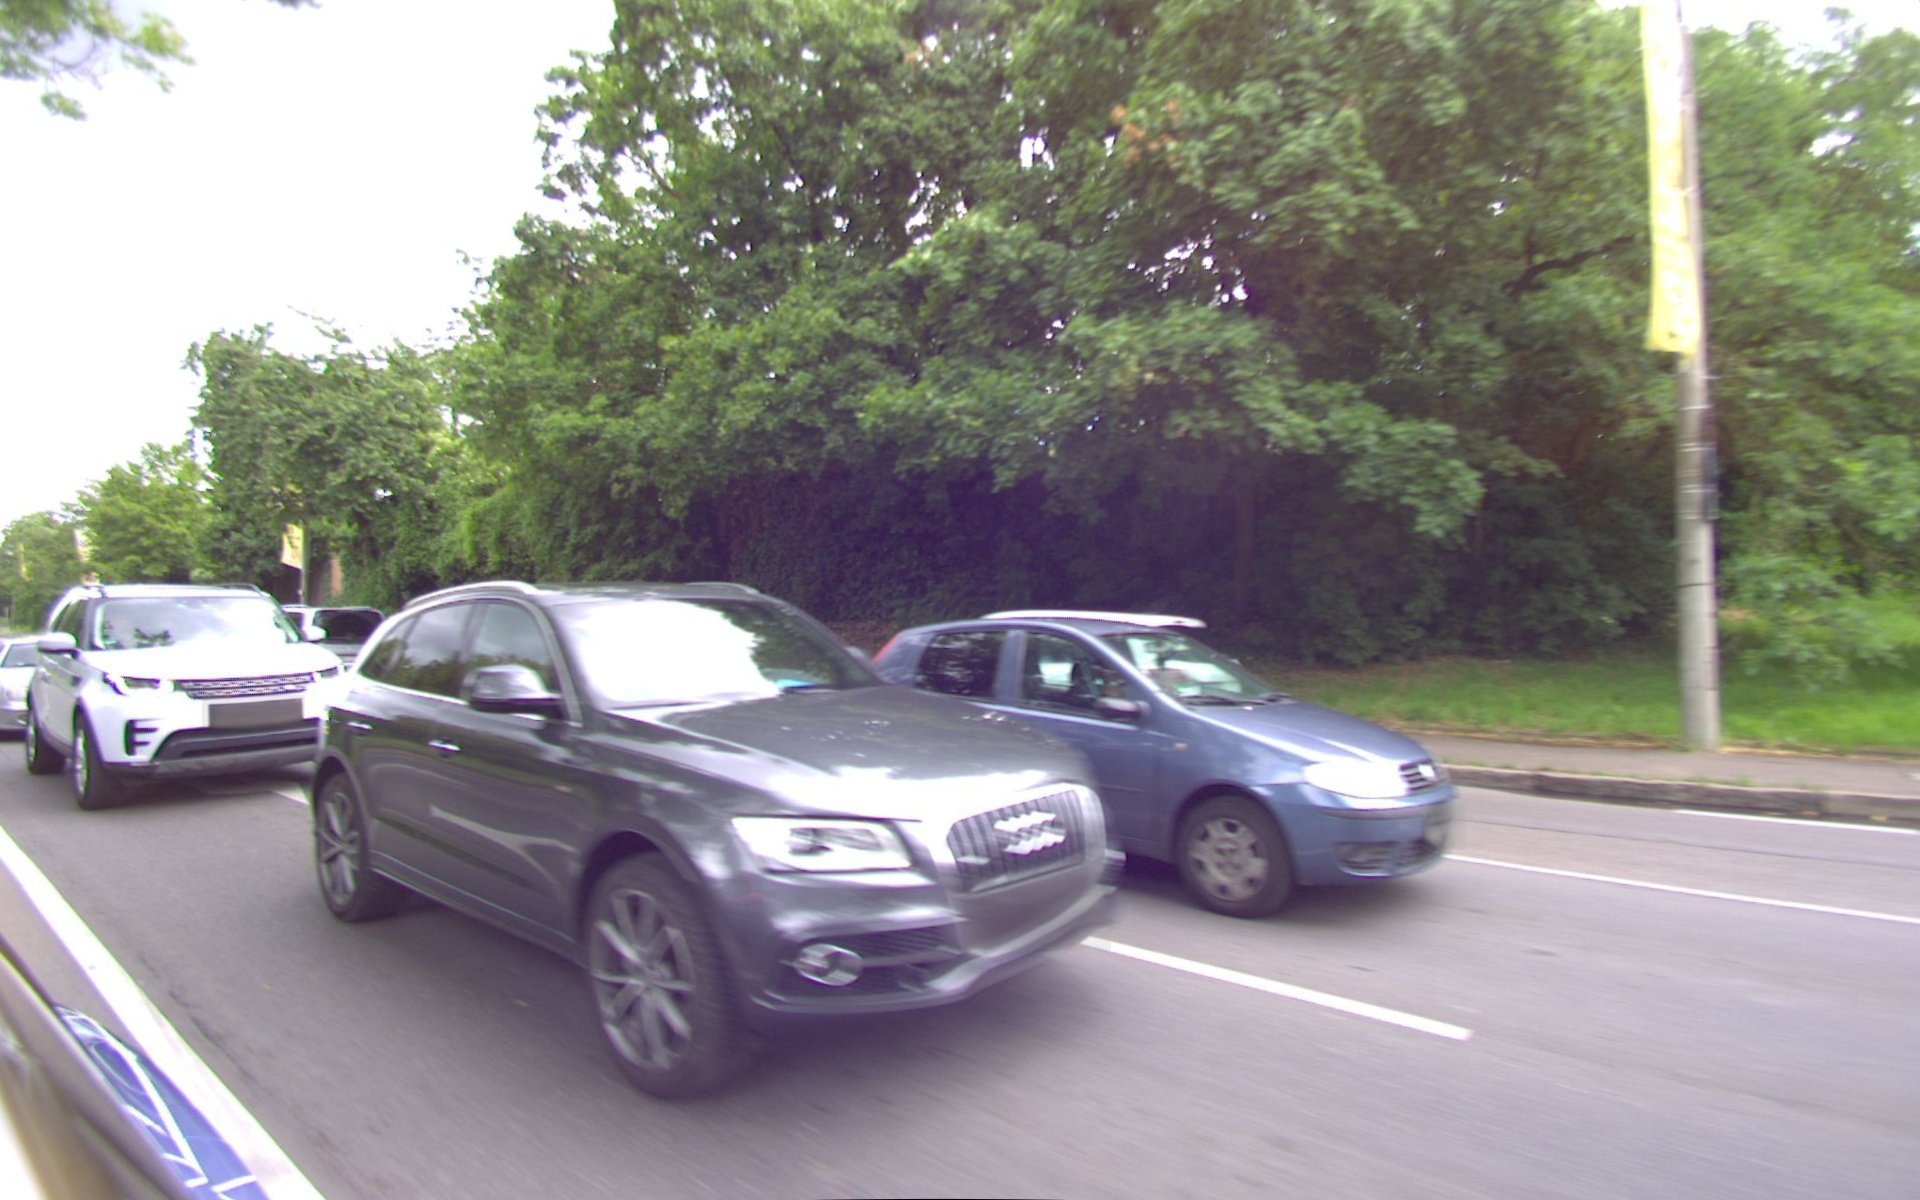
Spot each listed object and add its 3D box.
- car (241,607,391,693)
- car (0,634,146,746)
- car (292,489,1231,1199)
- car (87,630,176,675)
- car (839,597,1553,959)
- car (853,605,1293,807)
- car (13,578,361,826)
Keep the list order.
[{"bbox_3d":[-15.305,1.139,23.961,4.407,1.845,1.773,-1,-2,41],"label":"car"},{"bbox_3d":[-12.680,1.154,14.073,3.822,1.276,1.538,-1,-1,42],"label":"car"},{"bbox_3d":[-1.223,0.645,4.396,4.332,1.731,1.733,-1,-1,41],"label":"car"},{"bbox_3d":[-27.569,1.706,33.643,3.831,1.406,1.613,-2,-3,41],"label":"car"},{"bbox_3d":[1.148,0.785,6.088,3.929,1.479,1.574,-1,-3,43],"label":"car"},{"bbox_3d":[0.945,0.859,9.711,3.907,1.550,1.722,-2,-1,40],"label":"car"},{"bbox_3d":[-7.457,0.758,9.577,4.502,1.808,1.784,-1,0,42],"label":"car"}]
